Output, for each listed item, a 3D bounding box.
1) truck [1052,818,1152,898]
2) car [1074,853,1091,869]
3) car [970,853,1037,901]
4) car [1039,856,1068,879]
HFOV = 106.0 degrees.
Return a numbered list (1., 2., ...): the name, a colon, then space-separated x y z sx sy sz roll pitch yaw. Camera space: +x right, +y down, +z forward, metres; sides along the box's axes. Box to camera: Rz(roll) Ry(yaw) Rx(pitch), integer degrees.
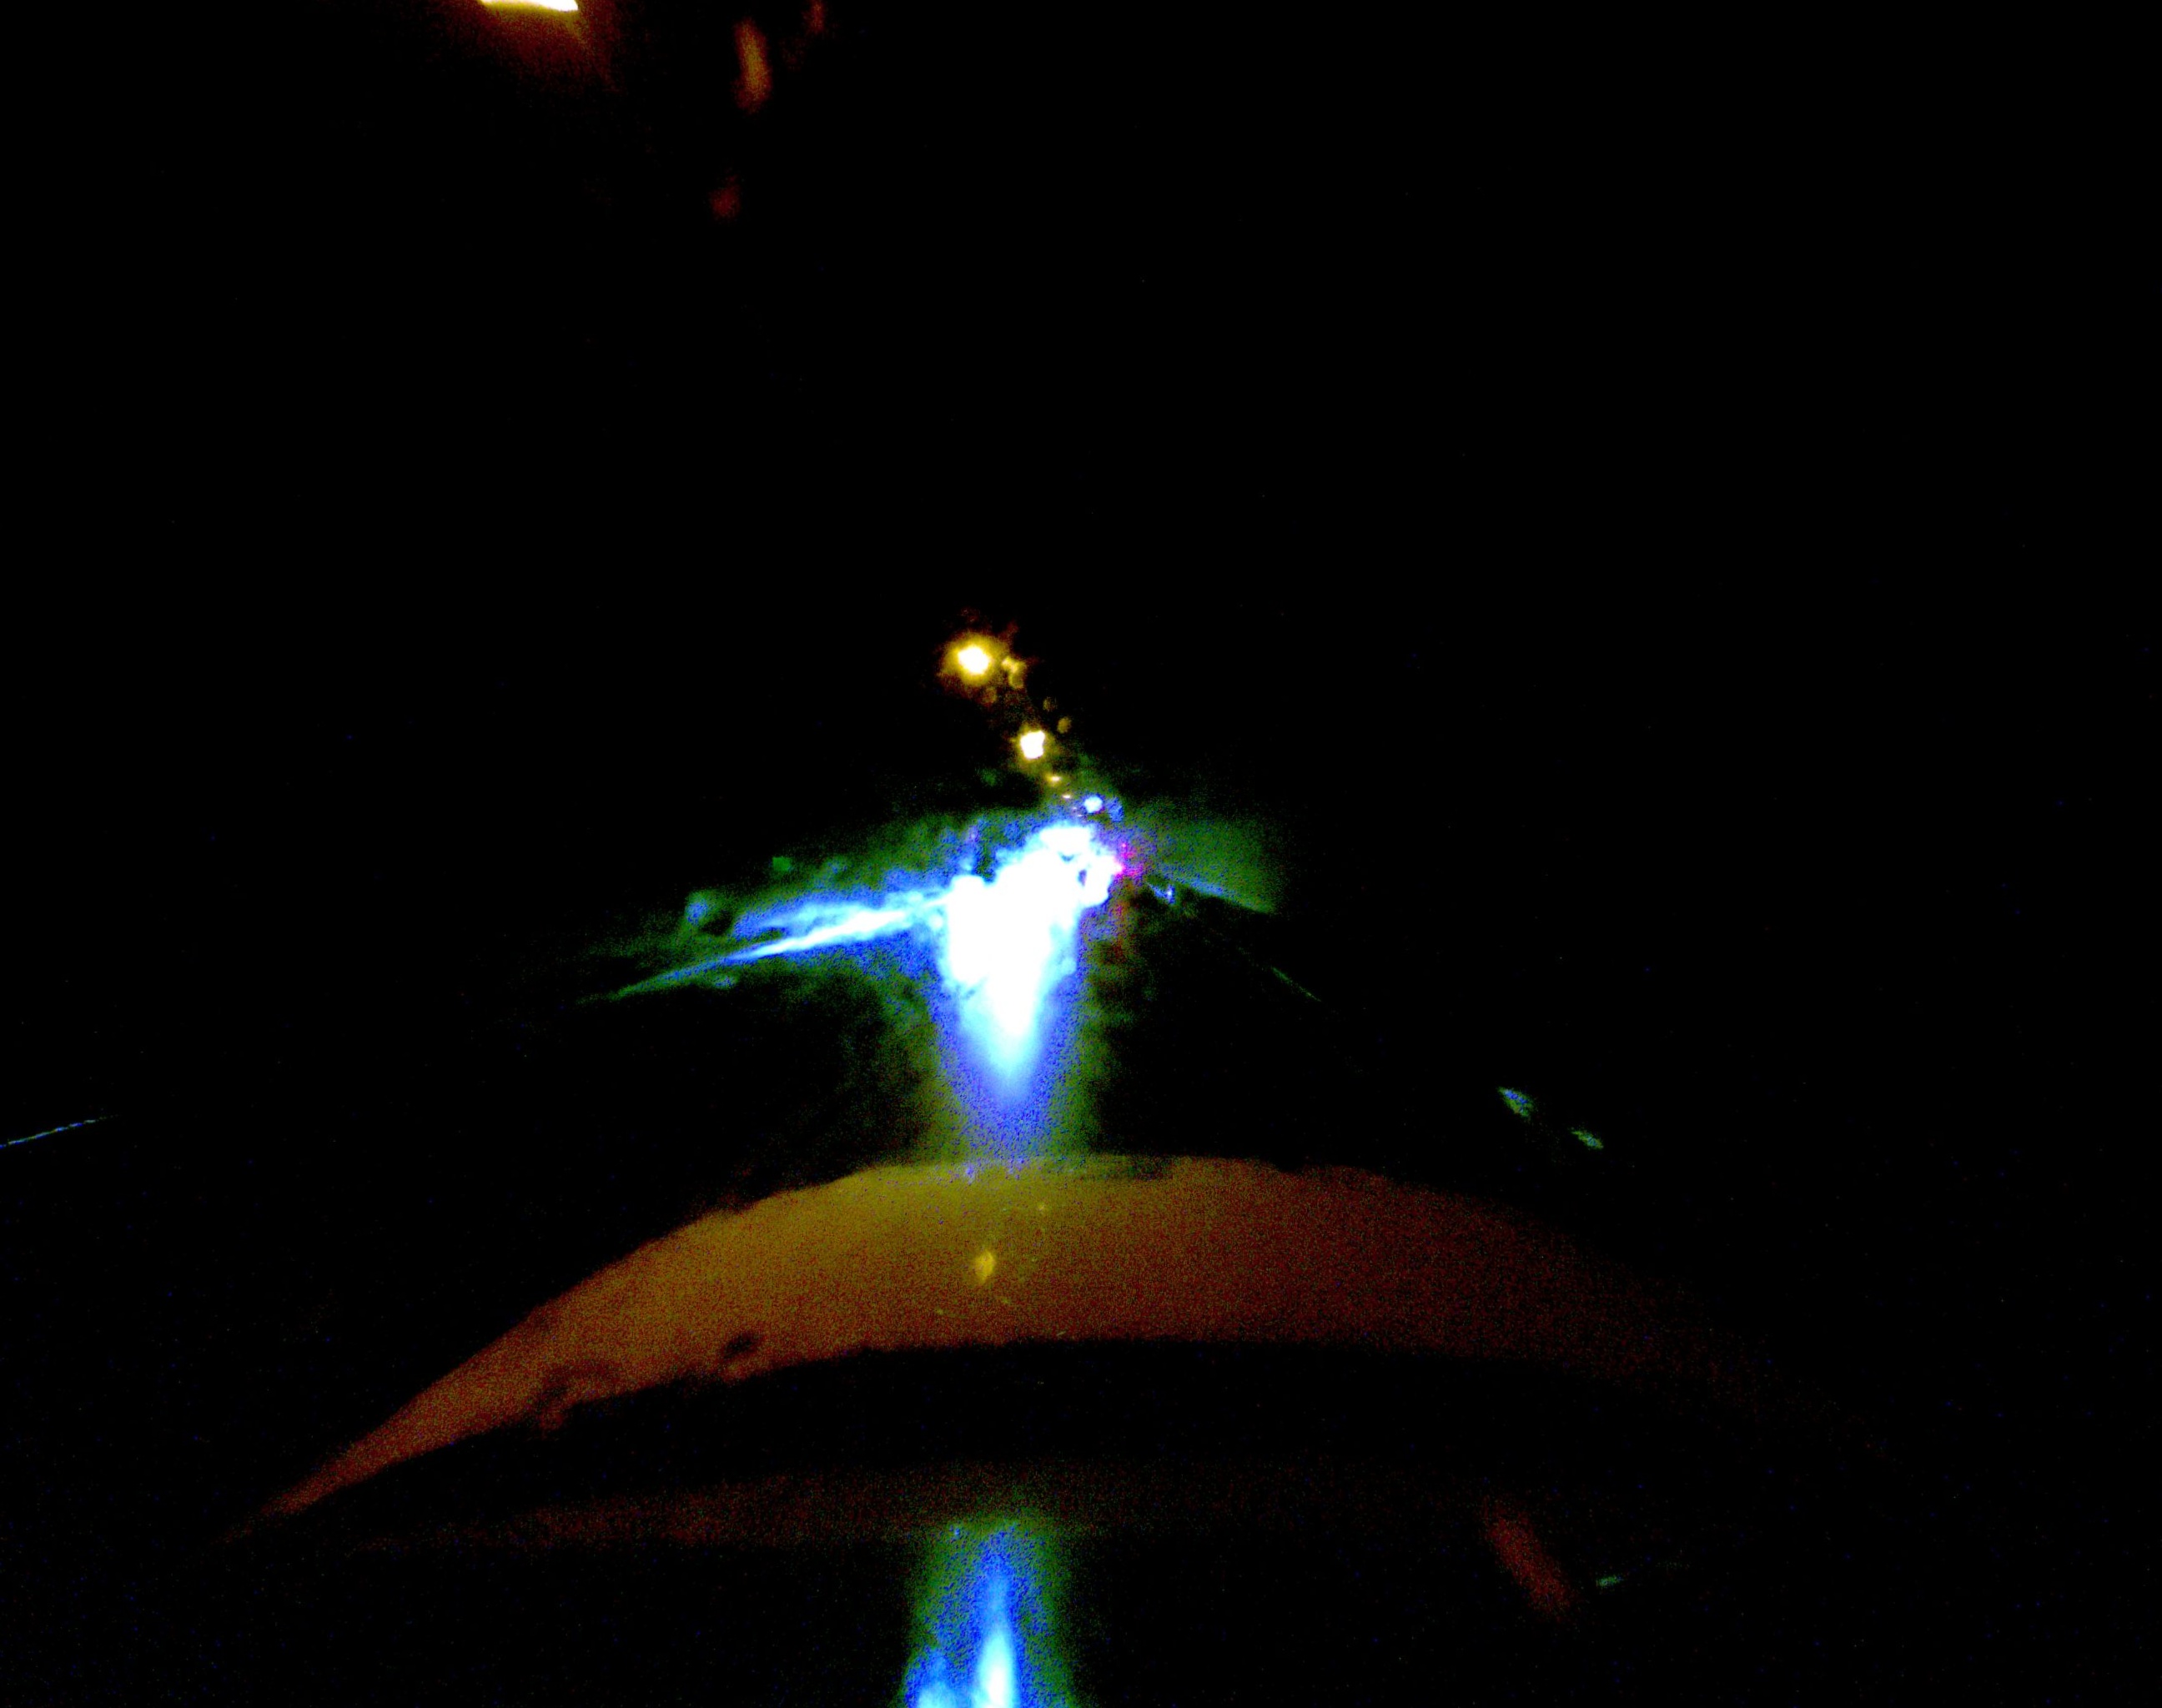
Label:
1. truck: 0.918 0.132 34.234 3.522 2.693 8.960 -3 0 2
2. car: 0.179 0.775 93.759 1.723 1.792 3.933 -2 -1 1
3. car: -2.566 0.731 27.762 1.728 1.441 3.838 -2 0 2
4. car: -1.888 0.937 57.328 1.753 1.480 3.887 -2 0 1
